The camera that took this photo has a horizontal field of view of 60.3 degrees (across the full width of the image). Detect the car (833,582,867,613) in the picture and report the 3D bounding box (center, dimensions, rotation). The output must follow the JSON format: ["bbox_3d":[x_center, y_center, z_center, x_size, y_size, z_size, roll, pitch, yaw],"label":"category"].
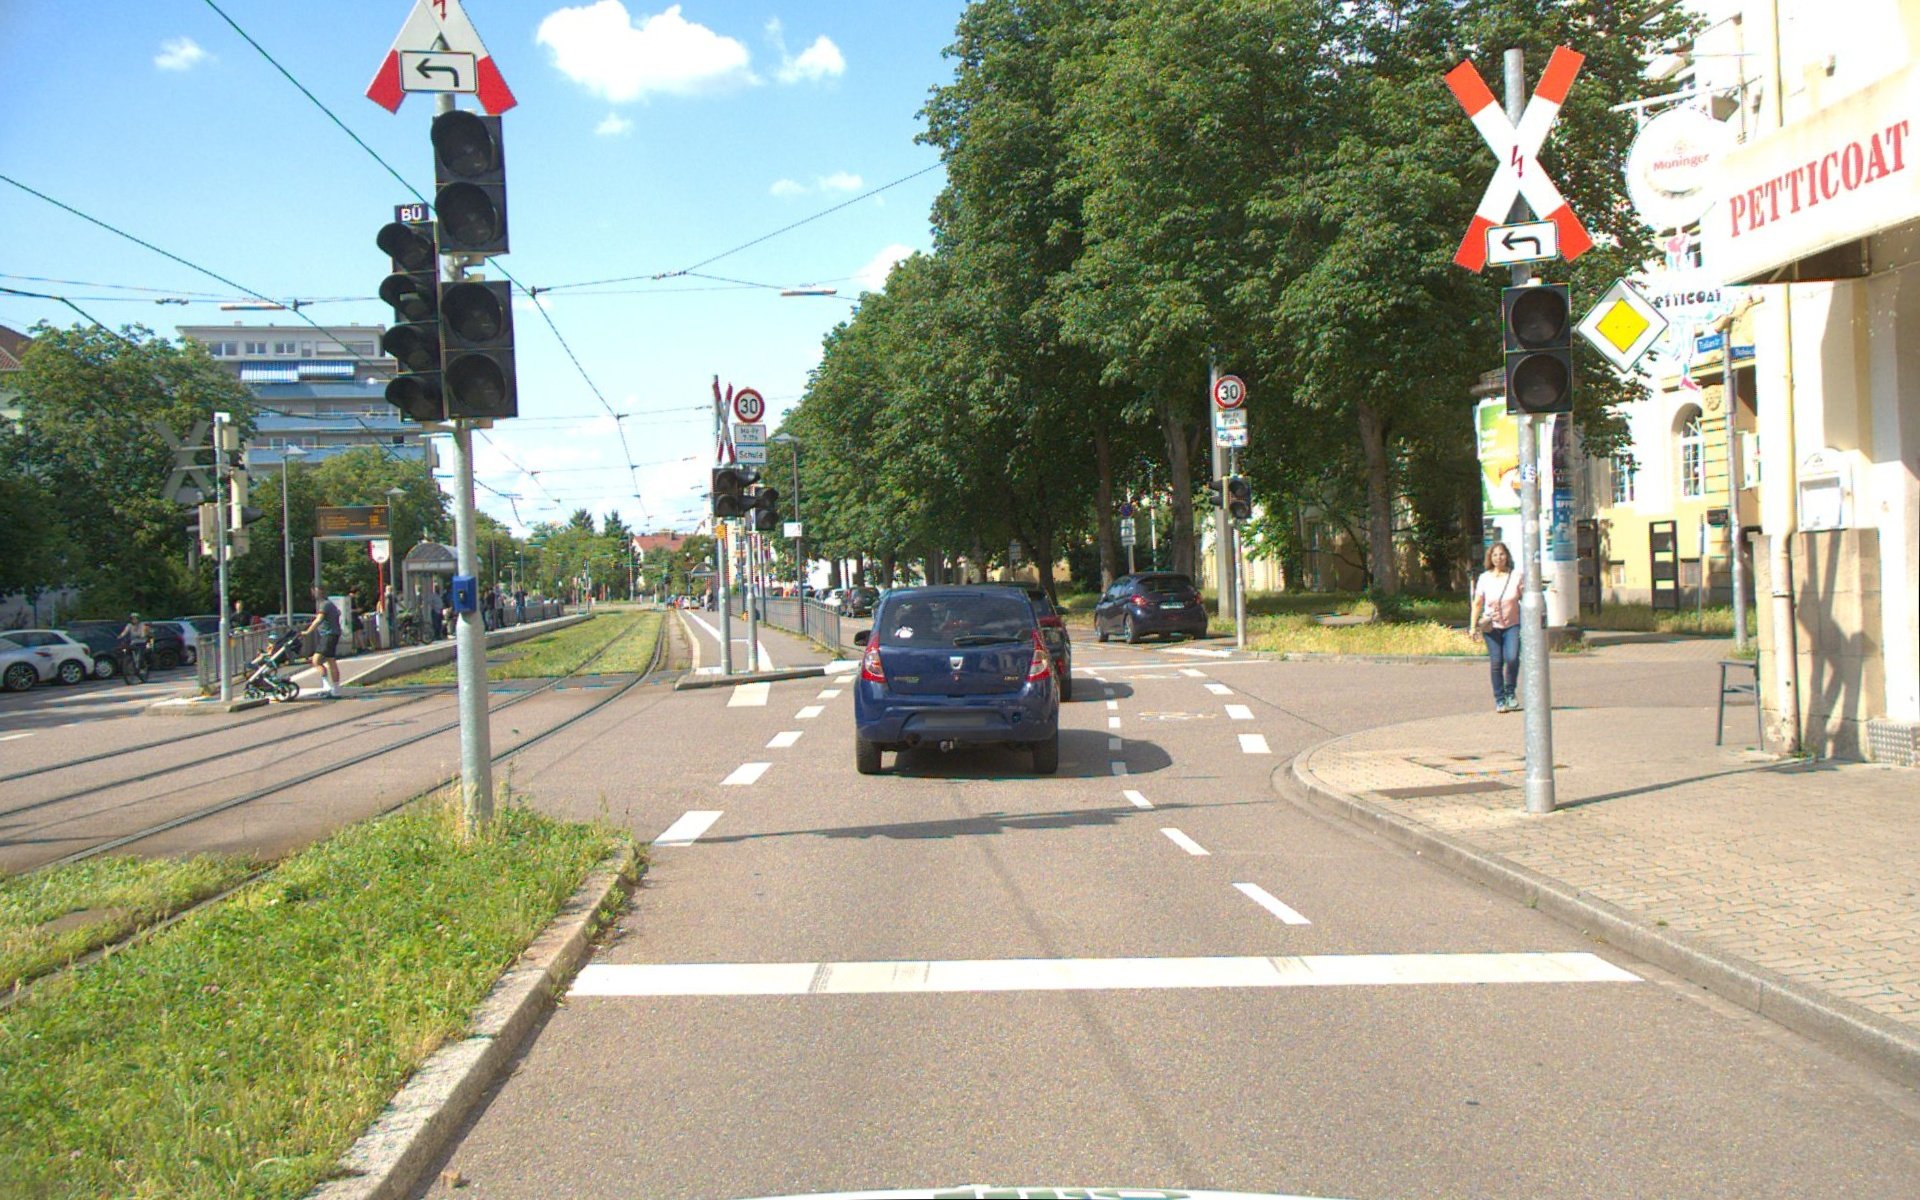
[{"bbox_3d":[-6.584,-0.153,98.655,1.588,1.780,3.992,-3,1,-9],"label":"car"}]

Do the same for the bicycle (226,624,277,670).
[{"bbox_3d":[-21.491,1.413,50.191,1.136,1.198,1.780,-4,3,-16],"label":"bicycle"}]

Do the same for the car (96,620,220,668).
[{"bbox_3d":[-25.390,1.382,52.442,1.425,1.332,3.239,-2,1,32],"label":"car"}]

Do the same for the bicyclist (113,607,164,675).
[{"bbox_3d":[-20.086,0.993,40.451,0.770,1.609,0.862,-3,1,-6],"label":"bicyclist"}]

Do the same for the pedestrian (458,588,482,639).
[{"bbox_3d":[-17.541,0.485,59.169,0.592,1.796,0.639,-2,0,-1],"label":"pedestrian"}]

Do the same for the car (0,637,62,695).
[{"bbox_3d":[-22.903,1.591,38.290,1.516,1.257,3.371,-2,1,41],"label":"car"}]

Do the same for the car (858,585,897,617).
[{"bbox_3d":[-4.281,0.042,84.936,1.825,1.470,3.997,-4,1,-4],"label":"car"}]

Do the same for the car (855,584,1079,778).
[{"bbox_3d":[0.017,0.607,14.724,1.732,1.487,3.774,0,1,-1],"label":"car"}]

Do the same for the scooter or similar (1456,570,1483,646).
[{"bbox_3d":[8.465,0.121,27.476,0.299,1.210,1.163,-2,1,13],"label":"scooter or similar"}]

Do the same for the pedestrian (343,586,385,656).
[{"bbox_3d":[-15.345,0.550,42.609,0.699,1.756,0.666,-2,0,32],"label":"pedestrian"}]

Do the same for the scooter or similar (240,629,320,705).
[{"bbox_3d":[-10.734,1.046,26.142,0.937,1.083,0.795,-5,1,-10],"label":"scooter or similar"}]

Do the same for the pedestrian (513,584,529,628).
[{"bbox_3d":[-20.816,0.279,78.484,0.649,2.048,0.800,-3,0,-15],"label":"pedestrian"}]

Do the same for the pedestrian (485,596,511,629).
[{"bbox_3d":[-21.996,0.587,78.801,1.016,1.462,0.698,-4,1,-24],"label":"pedestrian"}]

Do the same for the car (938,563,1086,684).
[{"bbox_3d":[0.612,0.250,21.787,1.666,1.391,3.513,-2,1,-2],"label":"car"}]

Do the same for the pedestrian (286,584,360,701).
[{"bbox_3d":[-10.220,0.664,26.572,0.855,1.806,1.001,-3,0,-10],"label":"pedestrian"}]

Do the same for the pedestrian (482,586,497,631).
[{"bbox_3d":[-18.727,0.328,65.833,0.481,1.742,0.461,-3,0,-19],"label":"pedestrian"}]

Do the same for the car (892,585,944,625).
[{"bbox_3d":[-1.743,0.171,67.738,1.825,1.470,3.997,-4,1,-4],"label":"car"}]

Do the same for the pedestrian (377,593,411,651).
[{"bbox_3d":[-16.268,0.616,47.517,0.650,1.596,0.685,-4,1,-2],"label":"pedestrian"}]

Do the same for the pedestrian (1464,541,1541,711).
[{"bbox_3d":[5.577,0.259,17.002,0.658,1.677,0.764,-3,0,19],"label":"pedestrian"}]

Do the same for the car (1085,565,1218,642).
[{"bbox_3d":[4.068,0.068,35.687,1.734,1.458,3.894,-3,1,-10],"label":"car"}]

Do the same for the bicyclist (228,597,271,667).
[{"bbox_3d":[-21.542,0.959,50.162,0.932,2.048,1.569,-3,0,-17],"label":"bicyclist"}]

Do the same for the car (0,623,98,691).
[{"bbox_3d":[-23.652,1.446,41.358,1.517,1.531,3.369,-2,1,42],"label":"car"}]

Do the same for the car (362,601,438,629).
[{"bbox_3d":[-32.628,0.857,96.373,1.606,1.410,3.987,-2,1,35],"label":"car"}]

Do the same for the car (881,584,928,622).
[{"bbox_3d":[-2.460,0.115,72.442,1.815,1.542,3.997,-3,1,-4],"label":"car"}]

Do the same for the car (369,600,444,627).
[{"bbox_3d":[-33.939,0.824,101.501,3.971,1.472,1.700,-3,1,-44],"label":"car"}]

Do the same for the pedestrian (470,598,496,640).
[{"bbox_3d":[-17.181,0.671,59.563,0.641,1.450,0.562,-3,1,28],"label":"pedestrian"}]

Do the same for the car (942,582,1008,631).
[{"bbox_3d":[0.463,0.189,56.308,1.825,1.470,3.997,-4,1,-4],"label":"car"}]

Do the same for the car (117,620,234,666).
[{"bbox_3d":[-26.189,1.437,55.271,1.426,1.332,3.237,-2,1,34],"label":"car"}]

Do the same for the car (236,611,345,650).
[{"bbox_3d":[-28.898,1.287,71.478,1.684,1.391,3.981,-3,1,39],"label":"car"}]

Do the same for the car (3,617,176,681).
[{"bbox_3d":[-24.538,1.369,46.719,1.659,1.482,3.980,-3,1,40],"label":"car"}]

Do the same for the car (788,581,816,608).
[{"bbox_3d":[-11.171,-0.423,117.126,1.794,1.792,3.997,-3,1,-4],"label":"car"}]

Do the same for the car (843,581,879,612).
[{"bbox_3d":[-5.419,-0.197,90.271,1.792,1.564,3.997,-3,1,-4],"label":"car"}]

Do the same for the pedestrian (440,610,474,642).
[{"bbox_3d":[-16.922,0.878,55.619,0.907,1.006,0.796,-4,-1,-8],"label":"pedestrian"}]

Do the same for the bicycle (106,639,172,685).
[{"bbox_3d":[-20.100,1.498,40.543,0.667,0.987,2.176,-3,1,-6],"label":"bicycle"}]

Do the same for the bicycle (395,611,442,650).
[{"bbox_3d":[-15.470,0.865,47.291,0.672,0.991,1.771,-5,1,0],"label":"bicycle"}]

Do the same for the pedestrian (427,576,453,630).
[{"bbox_3d":[-17.057,0.110,54.241,0.643,1.721,0.655,-3,0,-9],"label":"pedestrian"}]

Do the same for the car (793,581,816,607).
[{"bbox_3d":[-11.572,-0.475,123.226,1.635,1.802,3.995,-3,1,-6],"label":"car"}]
